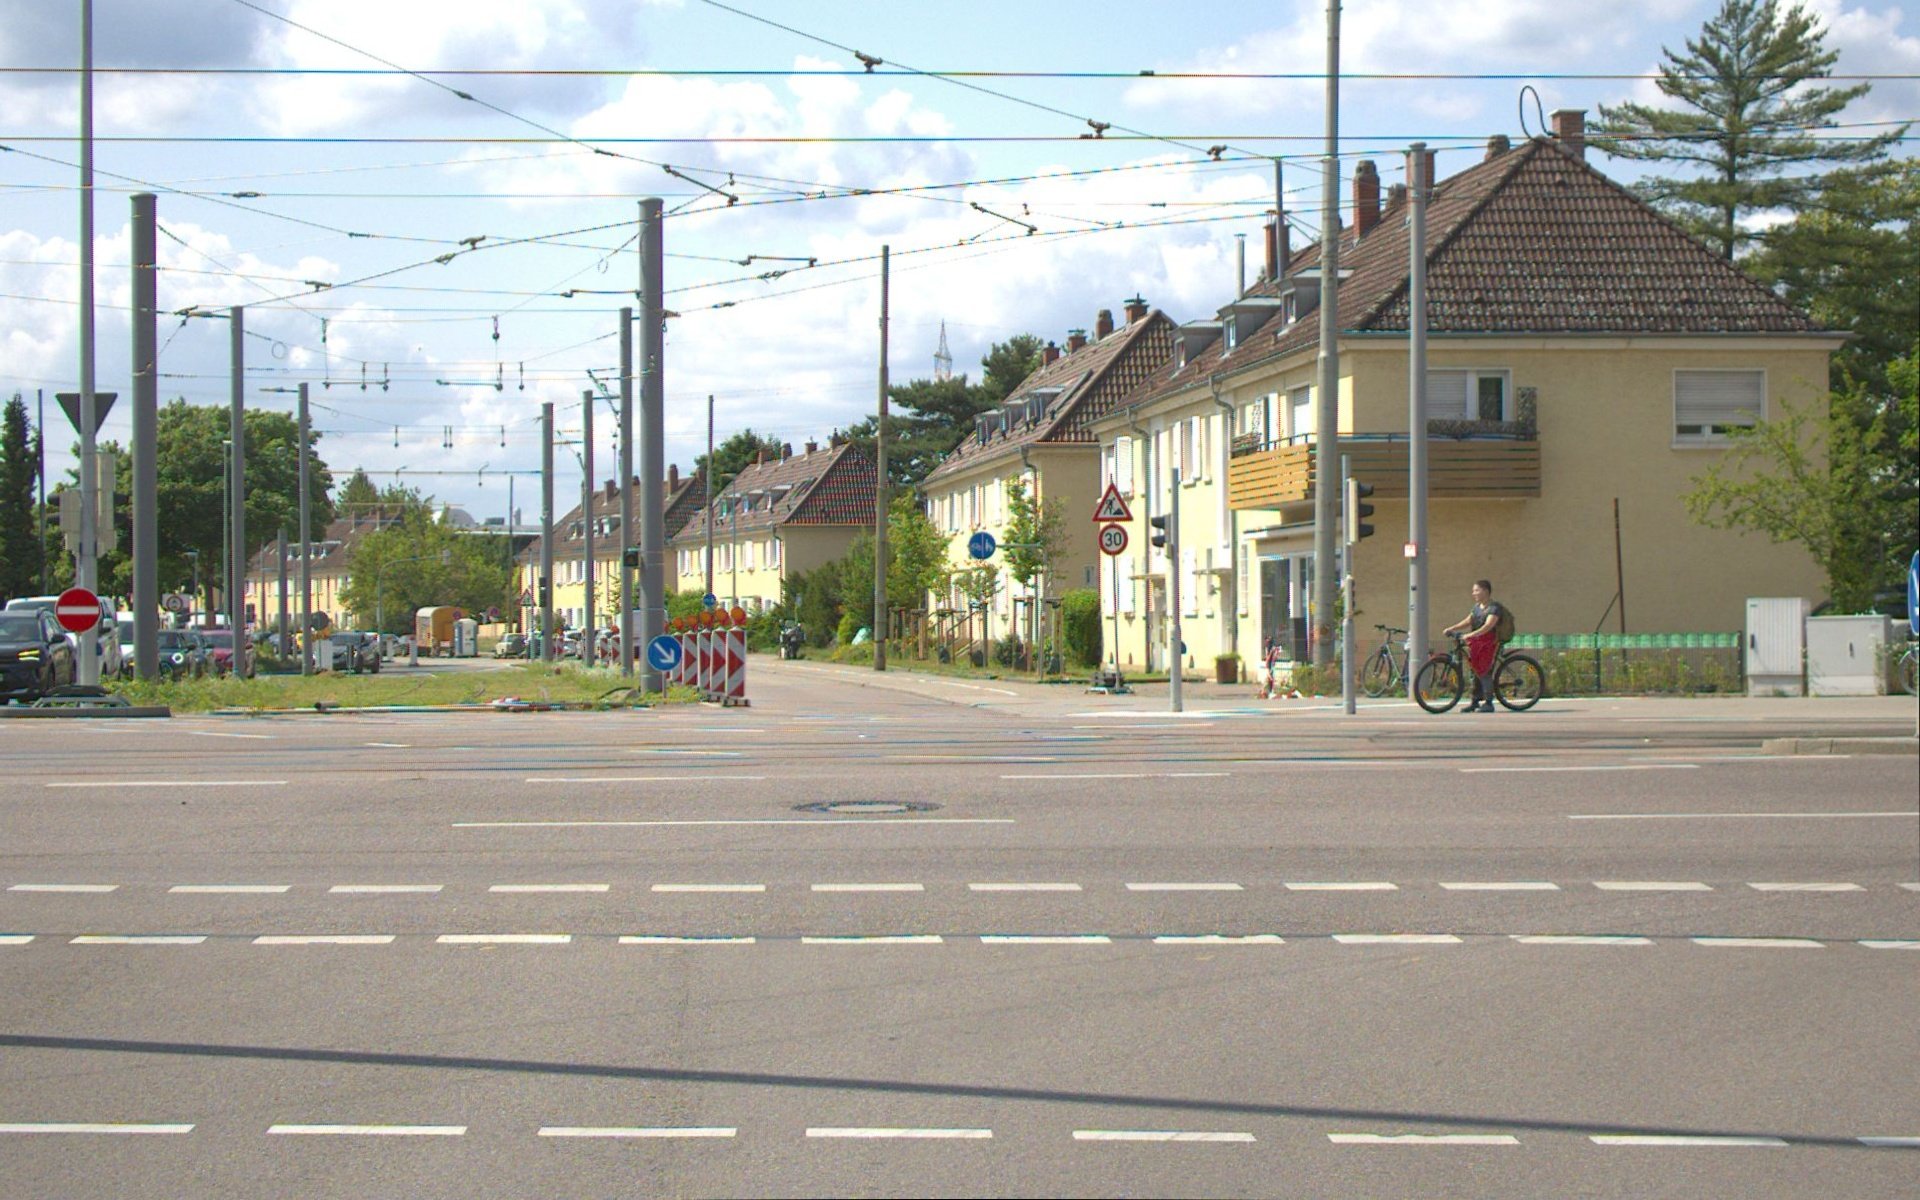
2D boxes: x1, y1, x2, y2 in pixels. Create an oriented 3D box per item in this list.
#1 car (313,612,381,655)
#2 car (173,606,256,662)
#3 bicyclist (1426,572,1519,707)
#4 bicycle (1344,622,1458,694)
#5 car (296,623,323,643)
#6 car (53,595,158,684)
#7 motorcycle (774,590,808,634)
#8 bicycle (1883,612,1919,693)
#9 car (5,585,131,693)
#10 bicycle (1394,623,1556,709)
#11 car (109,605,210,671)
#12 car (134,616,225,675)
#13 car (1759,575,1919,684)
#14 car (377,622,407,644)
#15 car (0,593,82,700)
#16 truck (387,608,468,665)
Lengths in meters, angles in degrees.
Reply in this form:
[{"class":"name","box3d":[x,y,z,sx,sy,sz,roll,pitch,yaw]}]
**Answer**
[{"class":"car","box3d":[-23.165,1.258,130.052,1.819,1.547,4.000,0,0,0]},{"class":"car","box3d":[-20.683,0.947,95.484,1.843,1.489,4.857,-1,0,-7]},{"class":"bicyclist","box3d":[6.789,0.522,45.555,0.957,1.769,0.720,0,-1,-22]},{"class":"bicycle","box3d":[6.834,0.895,53.379,0.593,1.093,2.277,0,-1,-26]},{"class":"car","box3d":[-46.748,2.396,247.212,1.257,1.422,2.666,0,-1,-26]},{"class":"car","box3d":[-17.850,0.819,71.942,1.732,1.776,4.406,-1,0,-9]},{"class":"motorcycle","box3d":[-6.426,0.456,130.271,1.066,1.630,2.084,-1,0,-9]},{"class":"bicycle","box3d":[13.485,0.708,46.490,1.806,1.101,0.701,-1,0,38]},{"class":"car","box3d":[-16.582,0.718,64.078,1.814,1.915,4.749,0,0,-9]},{"class":"bicycle","box3d":[6.821,0.869,45.540,2.026,1.098,0.715,0,-1,-22]},{"class":"car","box3d":[-18.318,0.872,78.781,1.914,1.414,4.001,-2,0,-9]},{"class":"car","box3d":[-19.409,1.131,85.632,1.843,1.408,4.917,-1,0,-9]},{"class":"car","box3d":[14.152,0.479,53.665,1.821,1.615,4.001,0,-1,-10]},{"class":"car","box3d":[-37.620,2.168,227.648,1.257,1.422,2.666,0,-1,-24]},{"class":"car","box3d":[-15.937,0.749,57.665,1.786,1.715,4.442,-1,0,-7]},{"class":"truck","box3d":[-33.434,2.265,215.535,2.640,3.482,9.439,0,0,-24]}]
